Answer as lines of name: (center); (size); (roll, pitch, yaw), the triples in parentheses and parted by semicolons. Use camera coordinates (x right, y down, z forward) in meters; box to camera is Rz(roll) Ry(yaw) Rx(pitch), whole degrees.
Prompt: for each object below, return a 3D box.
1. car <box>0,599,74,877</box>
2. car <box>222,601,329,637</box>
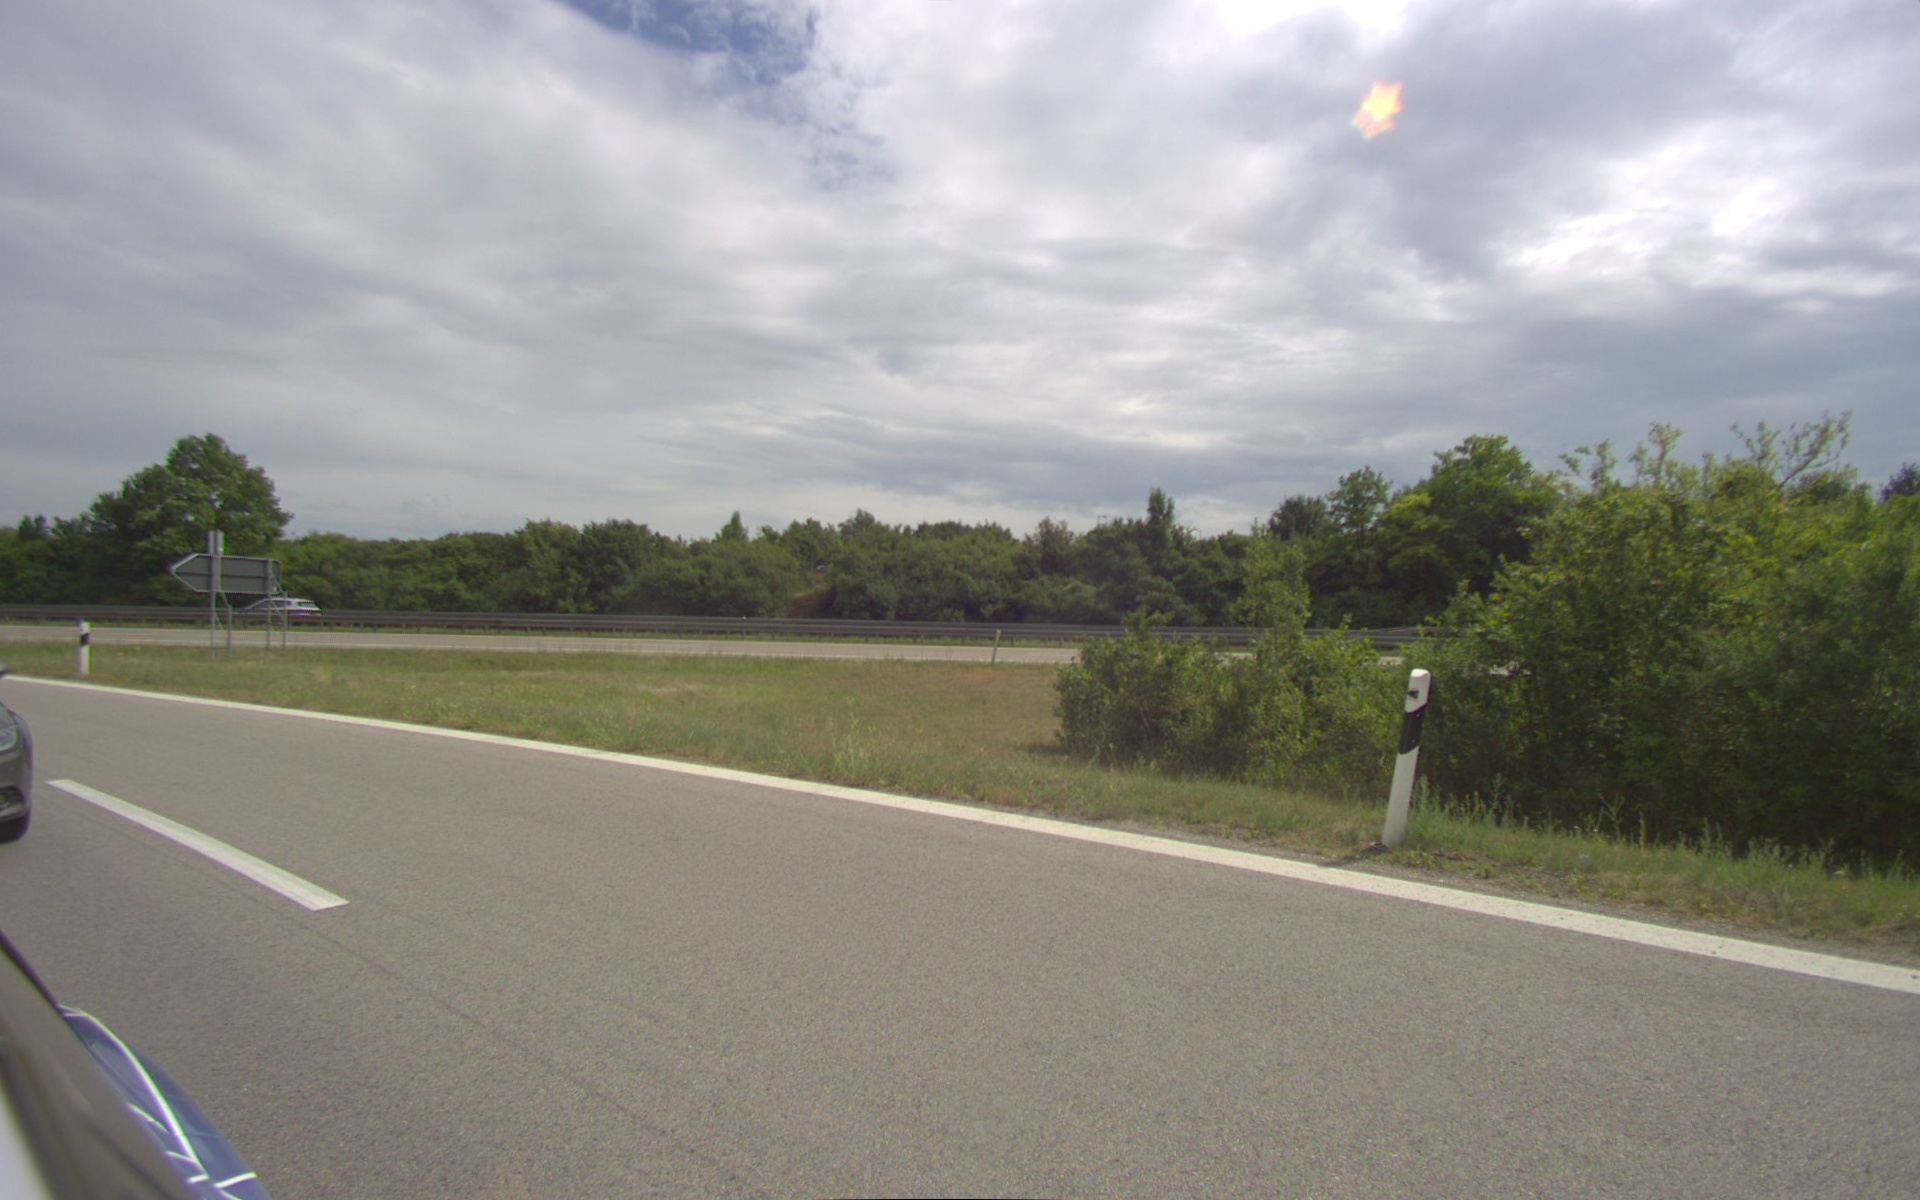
car: (-7.471, 0.774, 6.374); (4.530, 1.526, 1.975); (-1, 0, 37)
car: (-33.611, 0.922, 49.776); (3.947, 1.697, 1.998); (1, -1, 3)
